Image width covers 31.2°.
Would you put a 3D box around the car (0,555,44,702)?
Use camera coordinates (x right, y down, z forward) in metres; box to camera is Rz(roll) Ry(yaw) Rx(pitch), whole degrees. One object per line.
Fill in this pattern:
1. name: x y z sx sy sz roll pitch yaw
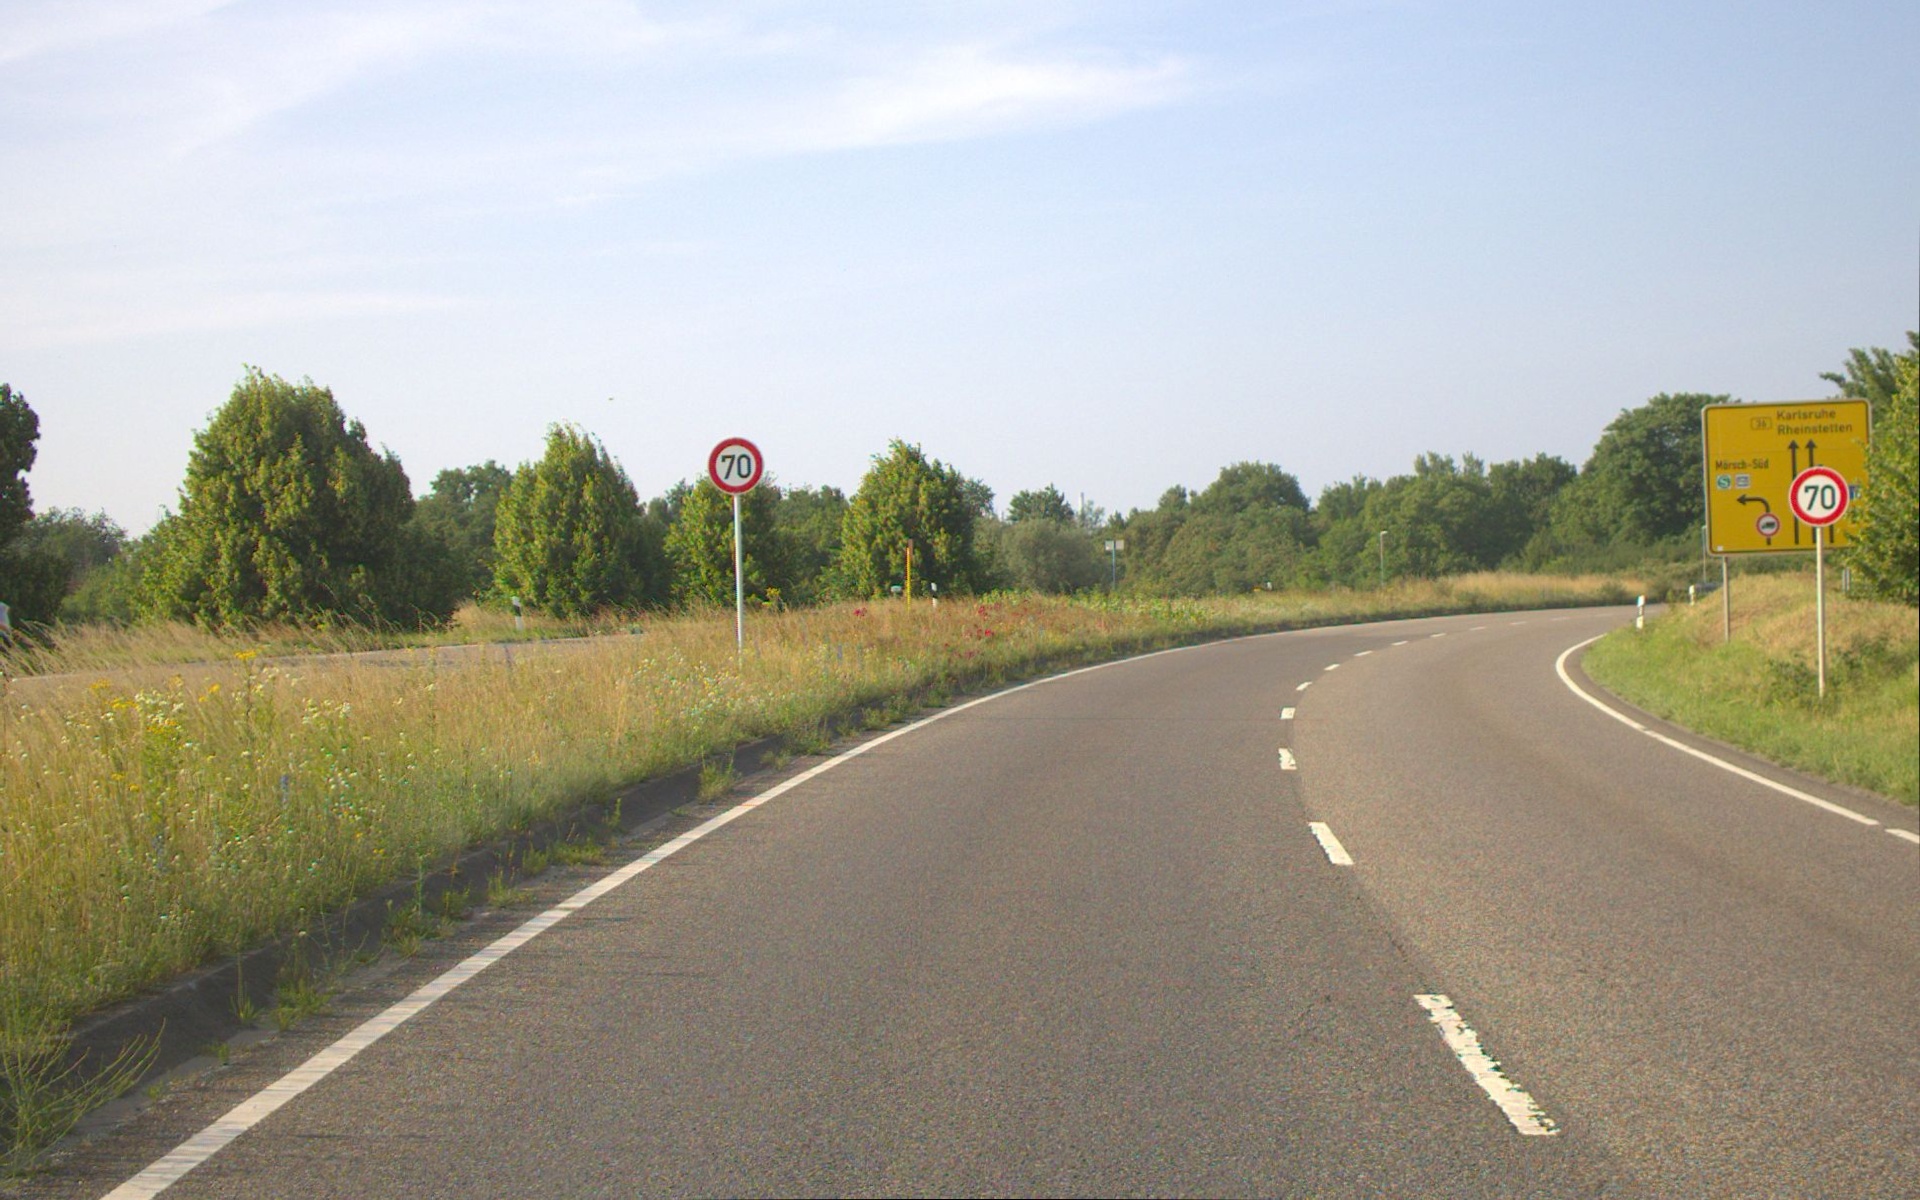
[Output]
1. car: -11.254 0.315 35.675 1.913 1.560 4.610 0 0 5
